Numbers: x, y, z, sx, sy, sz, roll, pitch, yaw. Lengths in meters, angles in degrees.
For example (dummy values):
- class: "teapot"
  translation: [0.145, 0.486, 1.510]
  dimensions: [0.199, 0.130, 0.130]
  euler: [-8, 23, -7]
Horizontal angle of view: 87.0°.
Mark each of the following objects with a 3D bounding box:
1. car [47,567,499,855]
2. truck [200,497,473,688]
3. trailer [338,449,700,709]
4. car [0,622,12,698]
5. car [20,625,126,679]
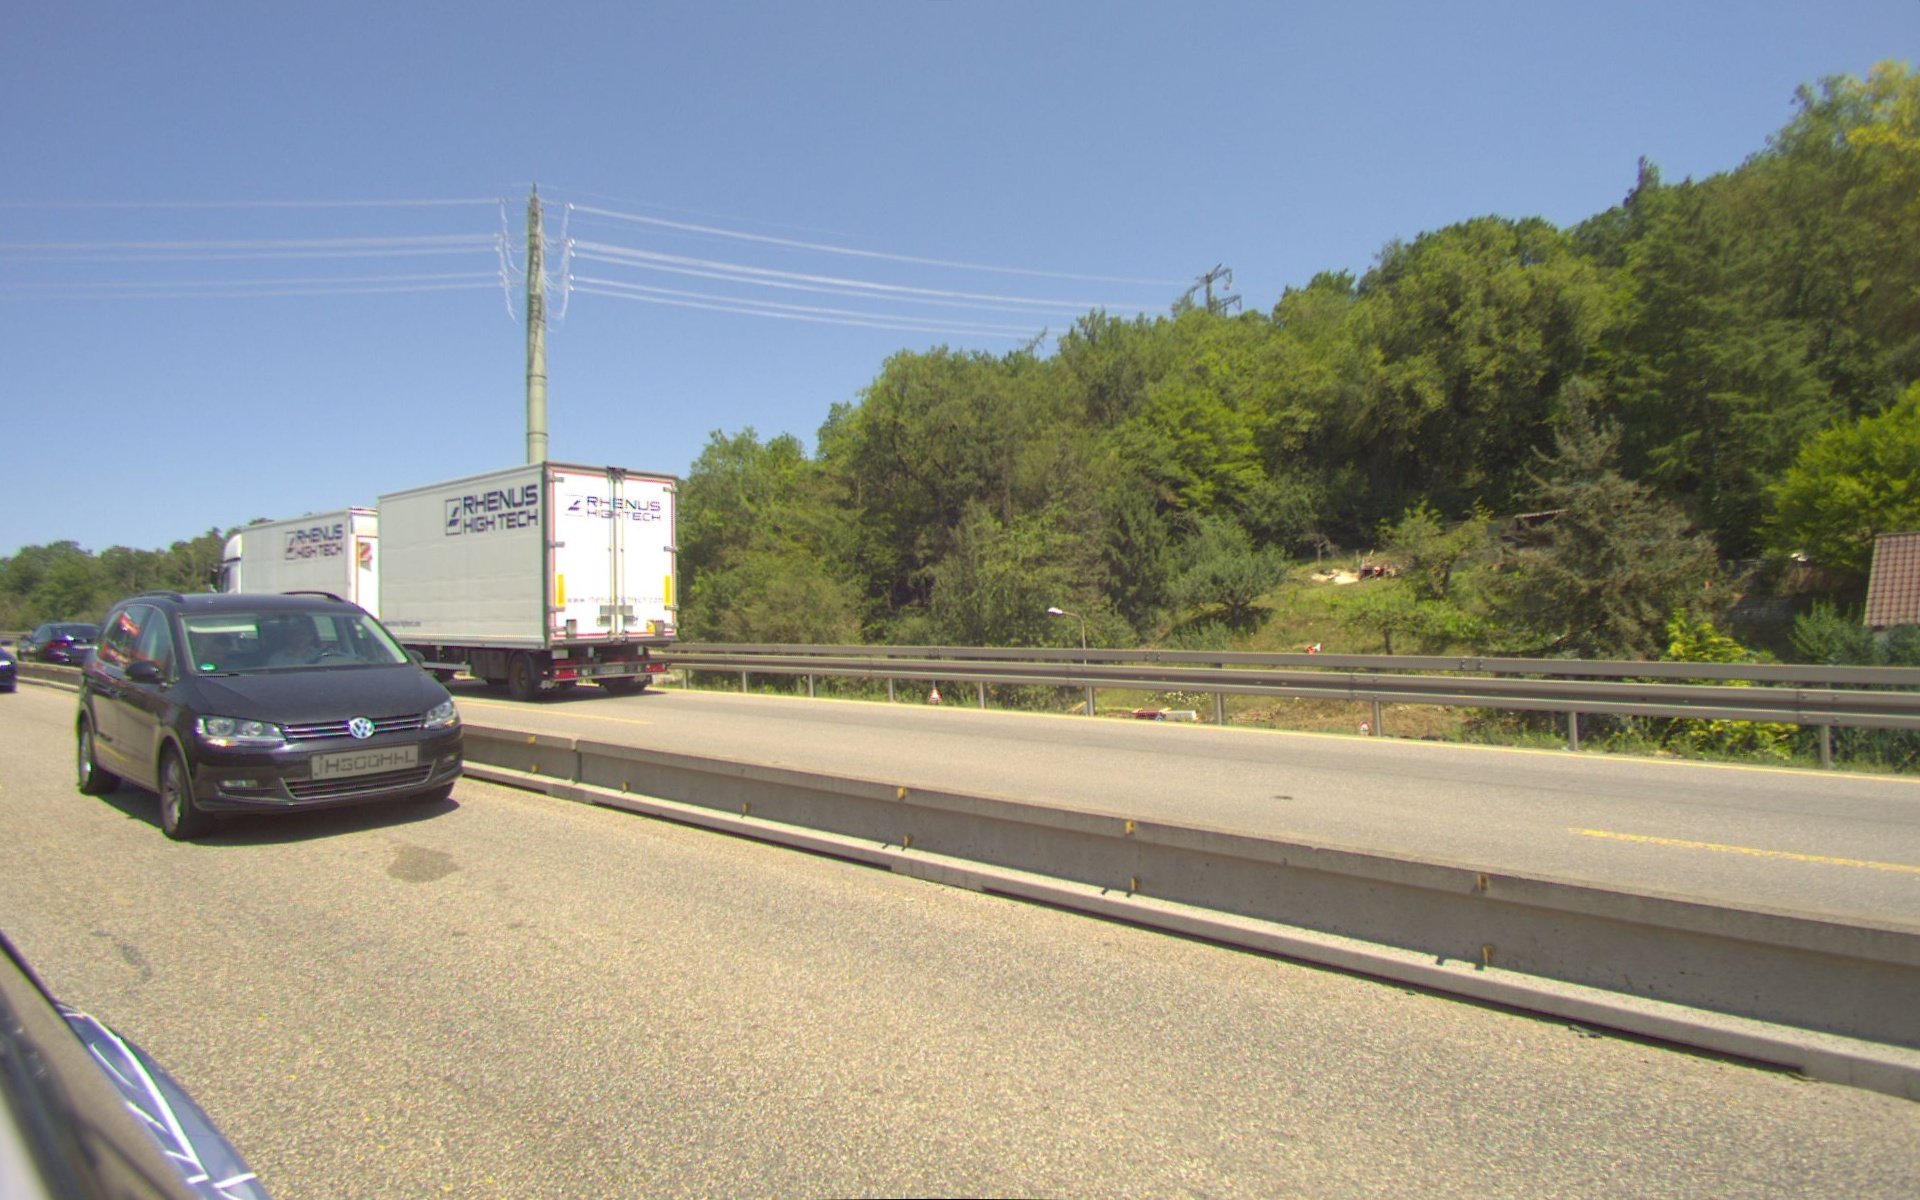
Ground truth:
- class: "car"
  translation: [-5.994, 0.735, 8.489]
  dimensions: [5.300, 1.719, 1.837]
  euler: [-2, -2, 41]
- class: "truck"
  translation: [-16.743, -0.031, 26.683]
  dimensions: [10.535, 4.194, 2.948]
  euler: [-2, -1, 40]
- class: "trailer"
  translation: [-9.202, -0.248, 20.396]
  dimensions: [9.008, 4.197, 2.974]
  euler: [-1, -1, 40]
- class: "car"
  translation: [-22.152, 1.301, 21.927]
  dimensions: [4.783, 1.567, 1.871]
  euler: [-2, -2, 41]
- class: "car"
  translation: [-27.051, 1.544, 30.832]
  dimensions: [4.617, 1.490, 1.764]
  euler: [-2, -1, 40]
